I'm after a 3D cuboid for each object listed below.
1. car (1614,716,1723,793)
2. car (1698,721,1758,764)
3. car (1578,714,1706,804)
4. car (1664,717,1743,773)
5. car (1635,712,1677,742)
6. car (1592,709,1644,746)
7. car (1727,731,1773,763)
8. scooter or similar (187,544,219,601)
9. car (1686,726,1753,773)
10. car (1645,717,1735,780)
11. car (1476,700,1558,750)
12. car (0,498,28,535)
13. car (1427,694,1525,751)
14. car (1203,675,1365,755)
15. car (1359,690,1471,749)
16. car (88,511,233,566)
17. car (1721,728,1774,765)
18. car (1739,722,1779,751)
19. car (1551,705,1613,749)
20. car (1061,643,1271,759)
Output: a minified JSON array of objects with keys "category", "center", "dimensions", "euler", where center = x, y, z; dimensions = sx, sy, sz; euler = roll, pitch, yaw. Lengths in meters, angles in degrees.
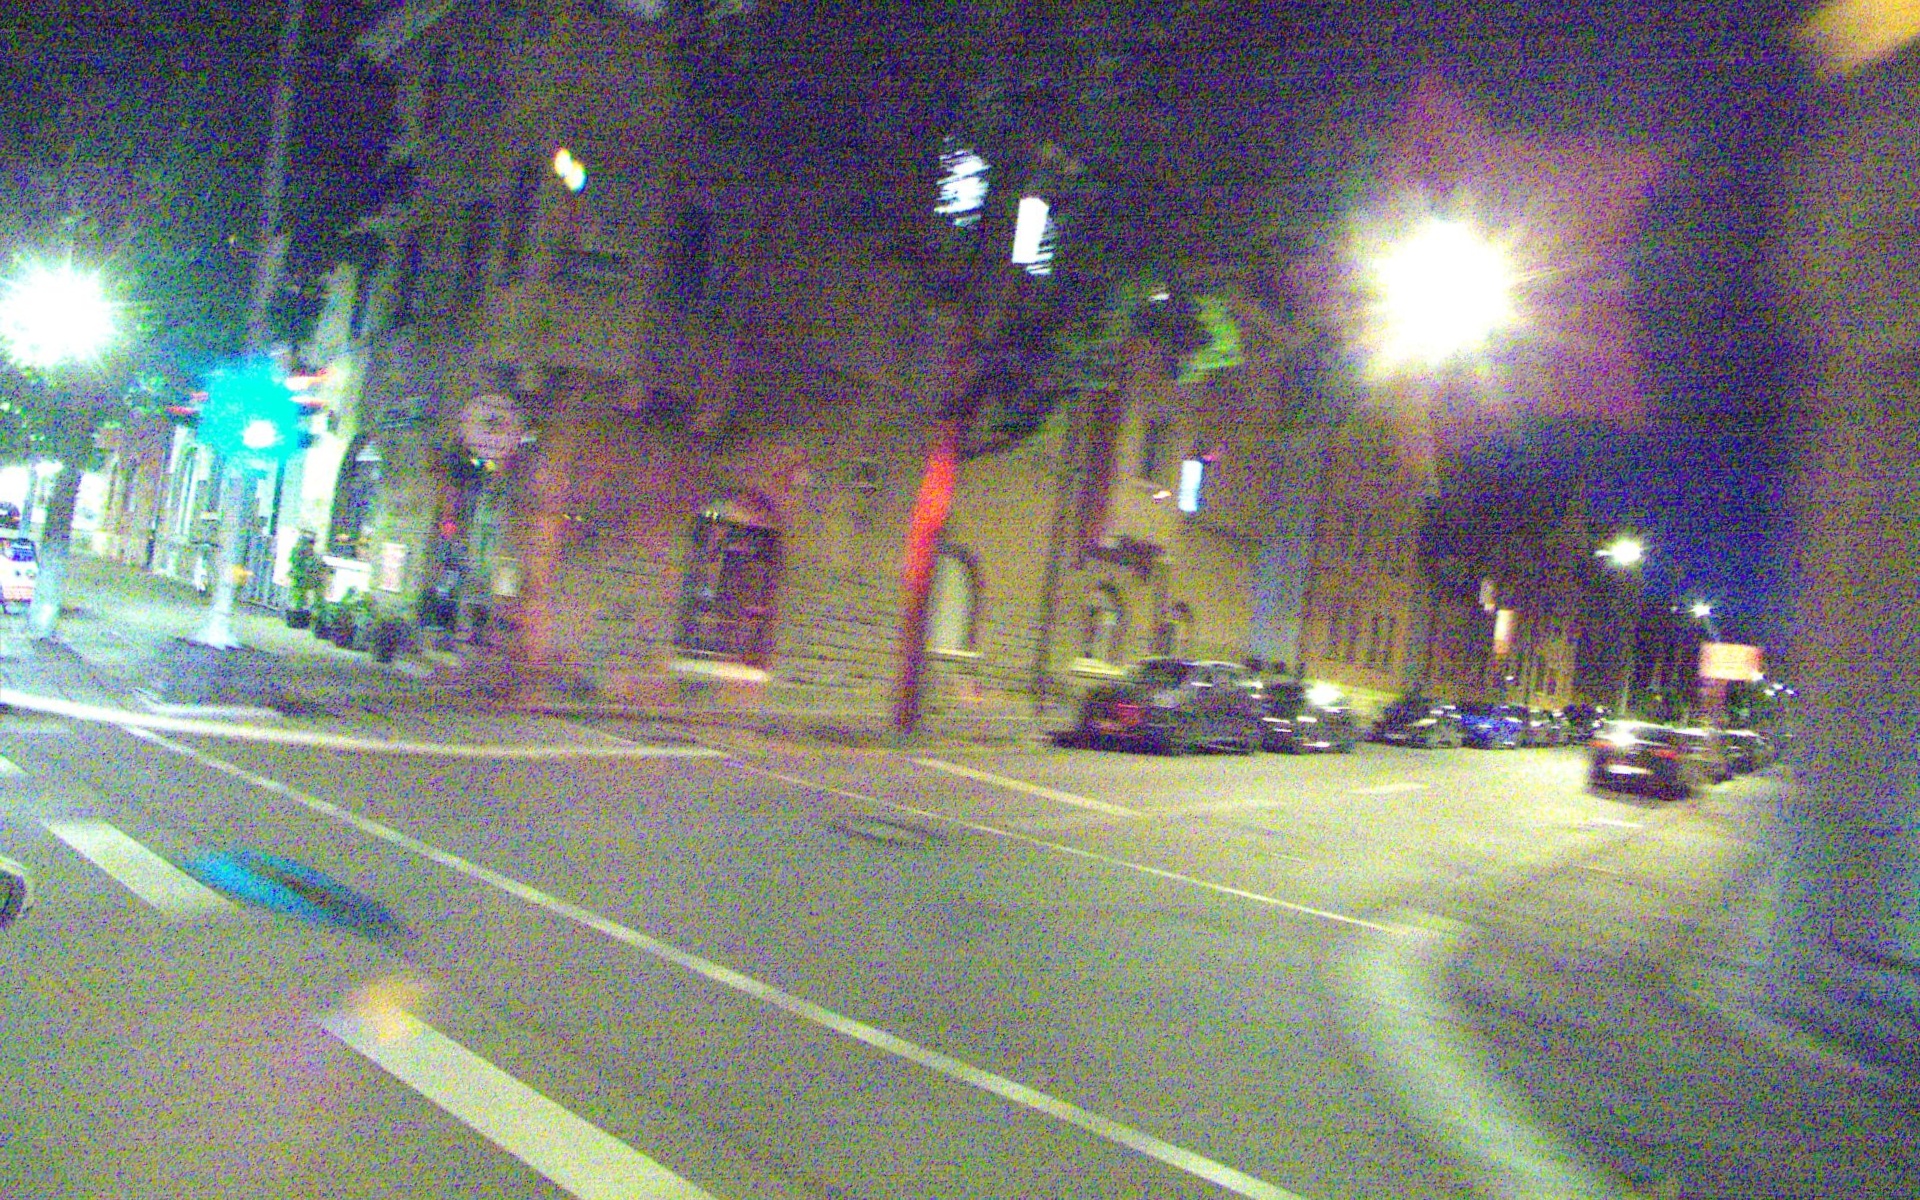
[{"category":"car","center":[17.732,3.819,25.124],"dimensions":[1.718,1.503,3.760],"euler":[7,-2,41]},{"category":"car","center":[33.320,6.160,43.605],"dimensions":[1.718,1.503,3.760],"euler":[7,-2,41]},{"category":"car","center":[14.732,3.369,21.647],"dimensions":[1.718,1.503,3.760],"euler":[7,-2,41]},{"category":"car","center":[24.870,4.836,33.610],"dimensions":[1.718,1.503,3.760],"euler":[7,-2,41]},{"category":"car","center":[47.475,8.684,68.591],"dimensions":[1.876,1.765,3.983],"euler":[2,-4,41]},{"category":"car","center":[36.781,7.130,56.195],"dimensions":[1.876,1.765,3.983],"euler":[2,-4,41]},{"category":"car","center":[45.186,8.404,57.521],"dimensions":[1.718,1.503,3.760],"euler":[7,-2,41]},{"category":"scooter or similar","center":[-16.829,-0.626,22.345],"dimensions":[0.420,1.144,1.477],"euler":[7,0,-39]},{"category":"car","center":[29.806,5.838,39.438],"dimensions":[1.718,1.503,3.760],"euler":[7,-2,41]},{"category":"car","center":[21.877,4.426,30.108],"dimensions":[1.718,1.503,3.760],"euler":[7,-2,41]},{"category":"car","center":[21.026,4.726,37.906],"dimensions":[1.876,1.581,3.983],"euler":[2,-4,41]},{"category":"car","center":[-44.541,-3.992,46.279],"dimensions":[4.658,1.476,1.733],"euler":[7,-2,39]},{"category":"car","center":[16.921,4.014,32.915],"dimensions":[1.876,1.581,3.983],"euler":[2,-4,41]},{"category":"car","center":[7.114,2.515,21.853],"dimensions":[1.876,1.443,3.983],"euler":[2,-5,41]},{"category":"car","center":[13.334,3.512,29.364],"dimensions":[1.876,1.443,3.983],"euler":[2,-5,41]},{"category":"car","center":[-32.270,-2.465,40.674],"dimensions":[4.412,1.477,1.768],"euler":[8,0,-42]},{"category":"car","center":[38.795,7.195,49.519],"dimensions":[1.718,1.503,3.760],"euler":[7,-2,41]},{"category":"car","center":[50.789,8.698,63.919],"dimensions":[1.718,1.503,3.760],"euler":[7,-2,41]},{"category":"car","center":[30.034,6.149,48.537],"dimensions":[1.876,1.828,3.983],"euler":[2,-4,41]},{"category":"car","center":[3.747,1.820,17.872],"dimensions":[1.843,1.712,3.983],"euler":[2,-4,41]}]
